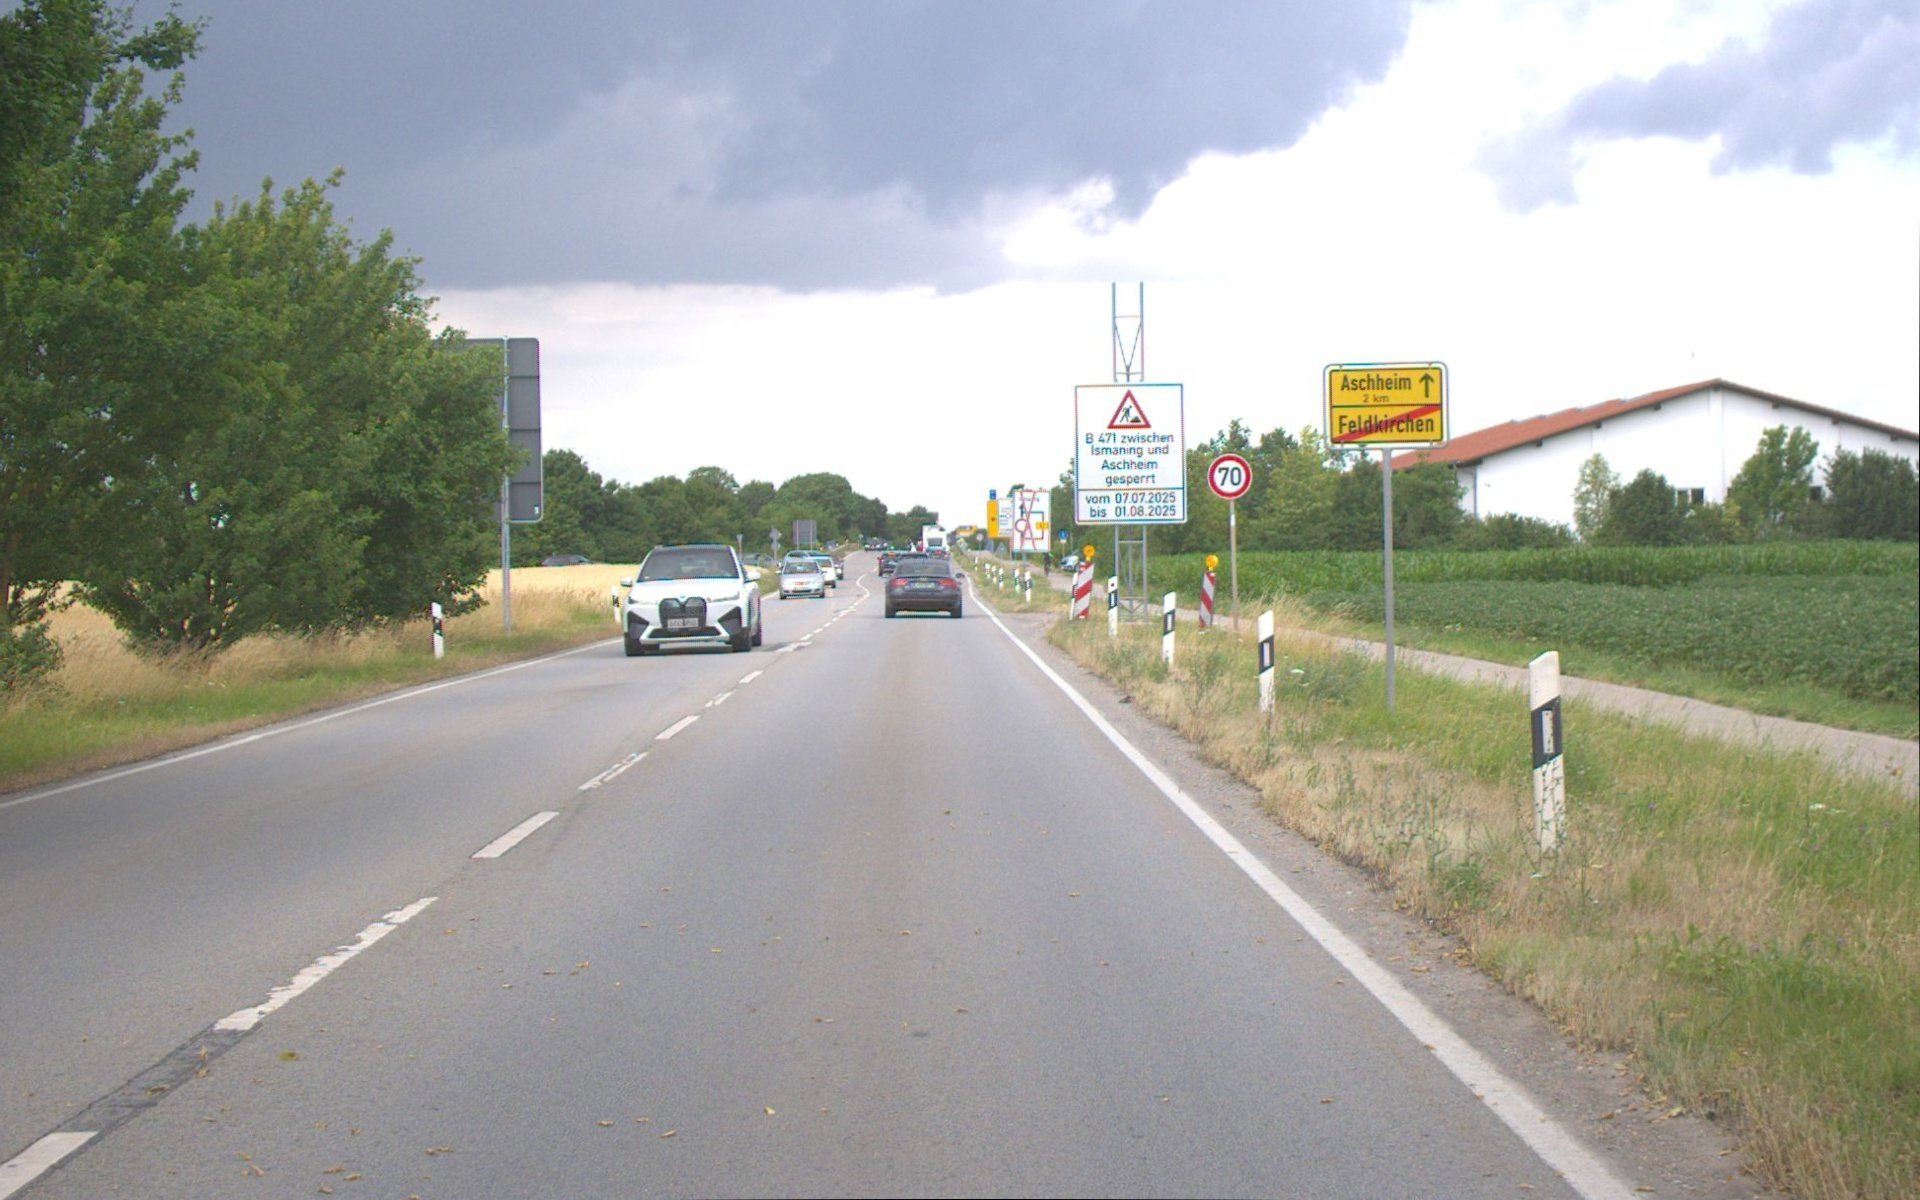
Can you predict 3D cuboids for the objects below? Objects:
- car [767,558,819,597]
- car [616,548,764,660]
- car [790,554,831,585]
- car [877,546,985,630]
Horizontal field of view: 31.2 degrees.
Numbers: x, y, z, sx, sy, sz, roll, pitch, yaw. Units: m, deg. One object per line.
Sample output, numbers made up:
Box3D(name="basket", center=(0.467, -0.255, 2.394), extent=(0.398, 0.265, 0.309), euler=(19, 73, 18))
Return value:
Box3D(name="car", center=(-6.093, -0.832, 125.836), extent=(1.728, 1.359, 3.950), euler=(-1, 1, 0))
Box3D(name="car", center=(-4.244, 0.021, 54.670), extent=(1.993, 1.678, 4.810), euler=(-1, 1, 0))
Box3D(name="car", center=(-7.108, -1.461, 163.806), extent=(1.806, 1.451, 4.114), euler=(-1, 1, 0))
Box3D(name="car", center=(-0.729, -0.297, 82.559), extent=(2.371, 1.874, 4.478), euler=(-2, 1, -3))
